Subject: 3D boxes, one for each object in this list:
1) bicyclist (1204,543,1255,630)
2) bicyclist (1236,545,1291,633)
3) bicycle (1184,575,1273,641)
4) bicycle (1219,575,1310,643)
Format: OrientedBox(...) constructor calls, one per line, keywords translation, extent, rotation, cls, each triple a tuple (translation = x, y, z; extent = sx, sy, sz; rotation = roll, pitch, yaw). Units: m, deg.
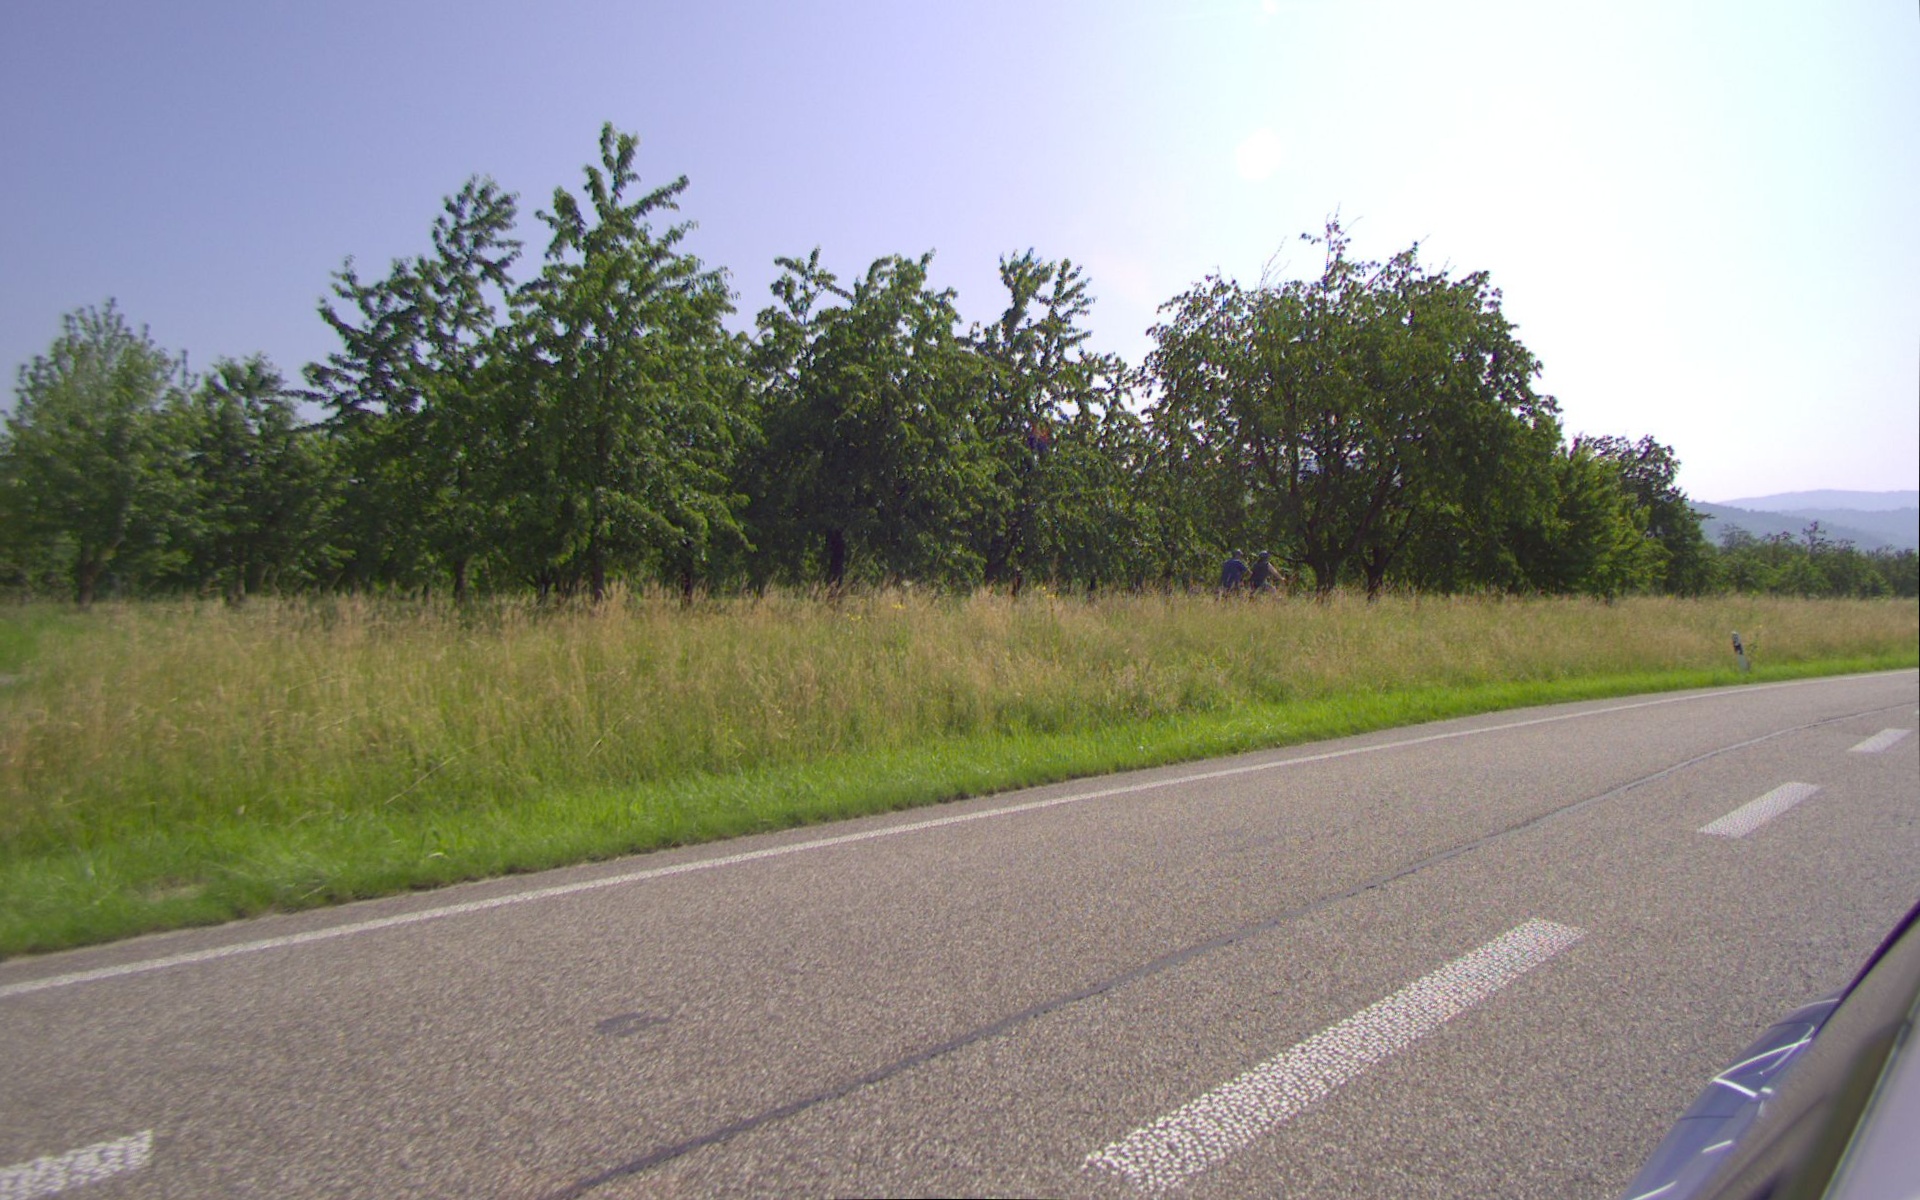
OrientedBox(translation=(6.190, -0.309, 23.244), extent=(0.812, 1.953, 0.752), rotation=(1, 1, -37), cls="bicyclist")
OrientedBox(translation=(6.710, -0.248, 22.385), extent=(0.853, 1.890, 0.752), rotation=(1, 1, -37), cls="bicyclist")
OrientedBox(translation=(6.184, 0.181, 23.255), extent=(2.180, 1.436, 0.752), rotation=(1, 1, -37), cls="bicycle")
OrientedBox(translation=(6.762, 0.194, 22.437), extent=(2.180, 1.436, 0.752), rotation=(1, 1, -37), cls="bicycle")
